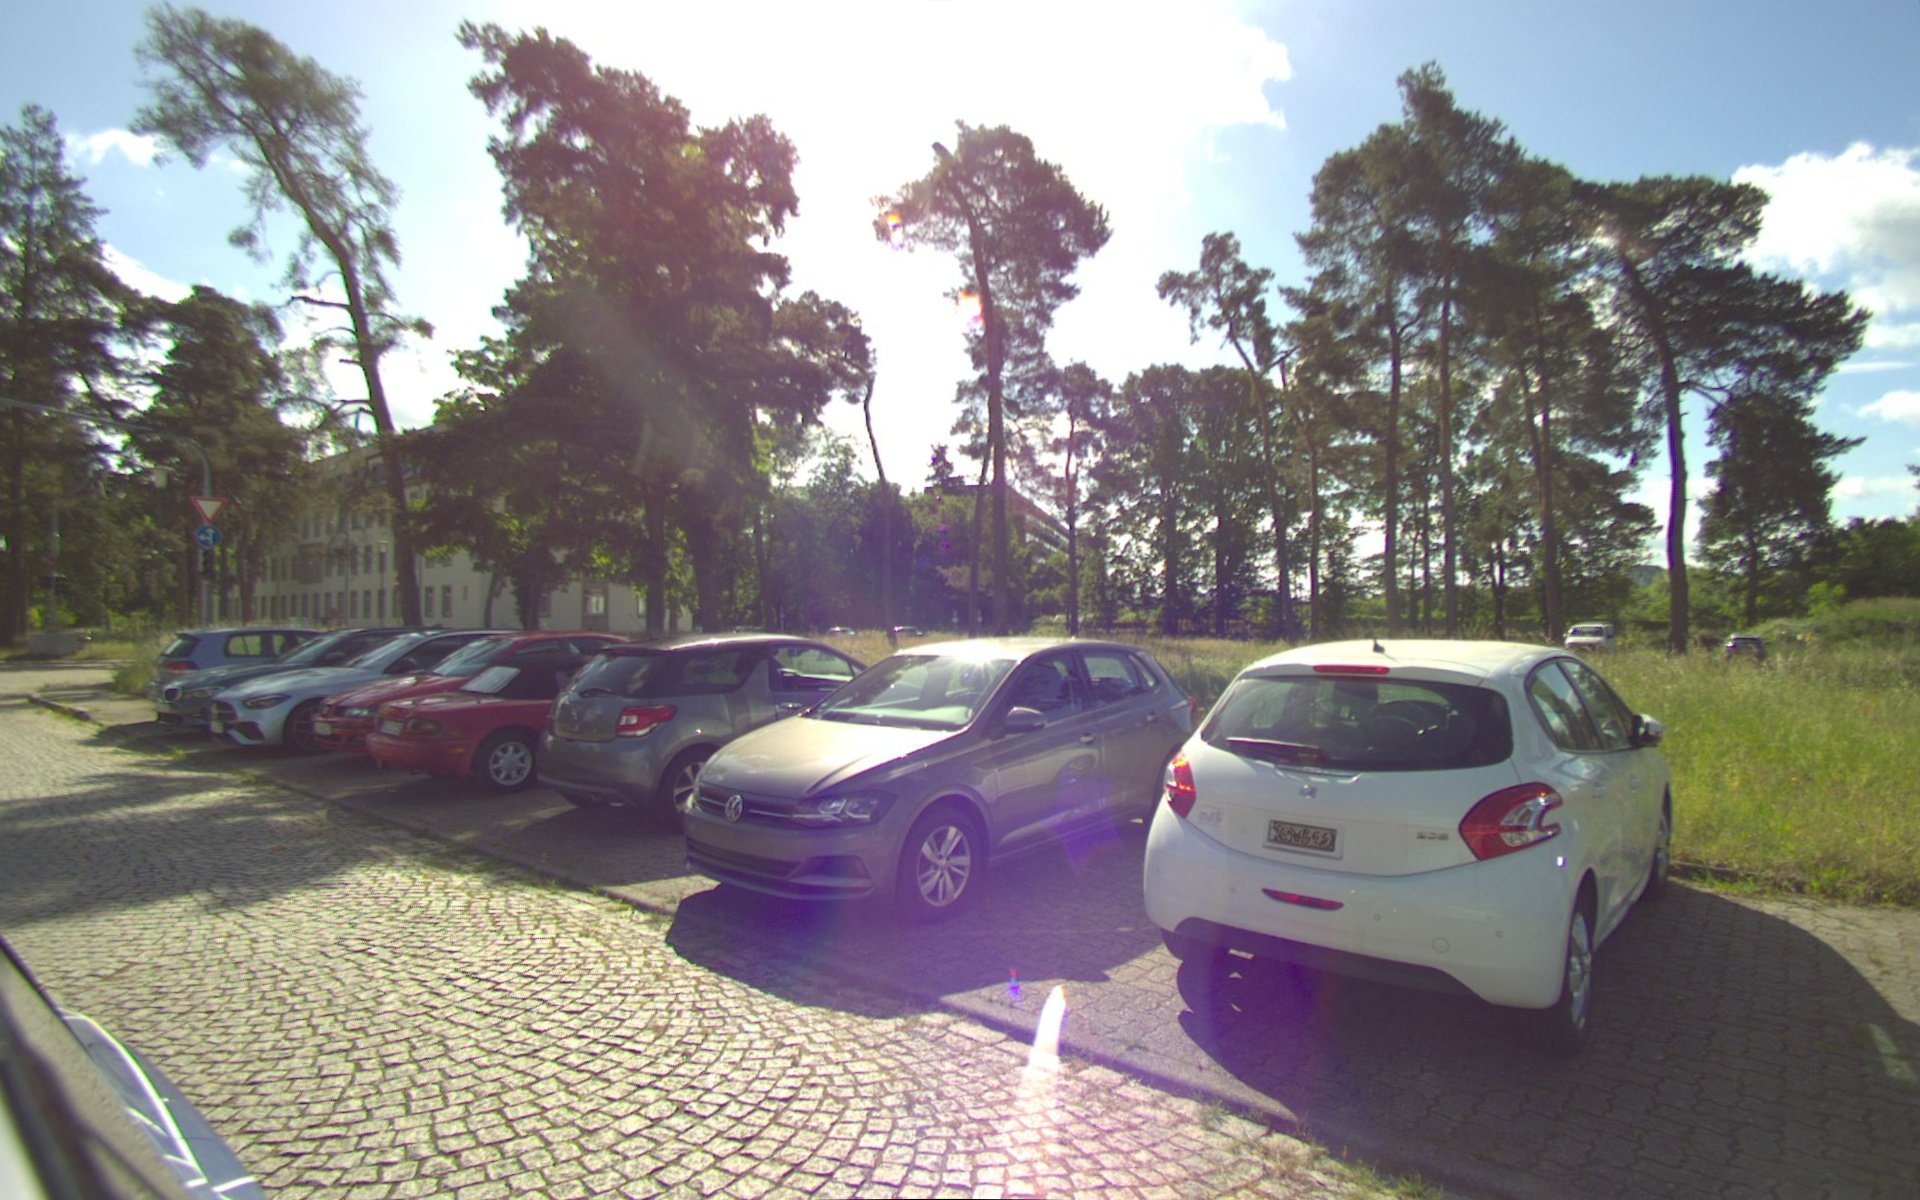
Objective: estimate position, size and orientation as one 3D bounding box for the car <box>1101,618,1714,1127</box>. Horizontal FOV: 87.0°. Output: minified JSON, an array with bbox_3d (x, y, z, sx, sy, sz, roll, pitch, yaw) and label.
[{"bbox_3d":[2.633,0.877,5.281,1.822,1.486,4.153,-2,-1,40],"label":"car"}]

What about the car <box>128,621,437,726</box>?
[{"bbox_3d":[-11.384,1.155,17.228,1.946,1.494,3.987,-2,-1,38],"label":"car"}]

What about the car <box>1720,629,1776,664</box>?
[{"bbox_3d":[38.889,2.257,49.898,1.912,1.617,4.184,-1,-2,41],"label":"car"}]

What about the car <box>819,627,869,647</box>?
[{"bbox_3d":[-9.719,3.109,84.742,1.720,1.593,4.051,-1,-2,42],"label":"car"}]

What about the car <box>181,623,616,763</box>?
[{"bbox_3d":[-7.355,1.088,13.727,1.937,1.431,4.814,0,0,41],"label":"car"}]

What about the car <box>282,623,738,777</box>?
[{"bbox_3d":[-5.304,1.051,12.528,1.937,1.431,4.814,-1,-1,41],"label":"car"}]

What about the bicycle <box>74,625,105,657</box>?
[{"bbox_3d":[-37.008,1.749,43.009,2.112,1.293,0.613,-2,1,39],"label":"bicycle"}]

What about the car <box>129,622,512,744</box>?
[{"bbox_3d":[-9.503,1.121,15.397,1.981,1.463,4.539,-1,0,37],"label":"car"}]

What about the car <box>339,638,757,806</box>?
[{"bbox_3d":[-4.075,1.093,10.399,1.759,1.243,3.592,0,0,41],"label":"car"}]

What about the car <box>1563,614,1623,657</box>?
[{"bbox_3d":[33.802,1.890,54.007,1.956,2.180,4.795,-1,-2,41],"label":"car"}]

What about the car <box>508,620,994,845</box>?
[{"bbox_3d":[-1.666,0.955,9.121,1.821,1.463,4.034,0,0,41],"label":"car"}]

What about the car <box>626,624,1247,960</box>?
[{"bbox_3d":[0.107,0.926,6.752,1.922,1.436,4.034,-2,-1,41],"label":"car"}]
